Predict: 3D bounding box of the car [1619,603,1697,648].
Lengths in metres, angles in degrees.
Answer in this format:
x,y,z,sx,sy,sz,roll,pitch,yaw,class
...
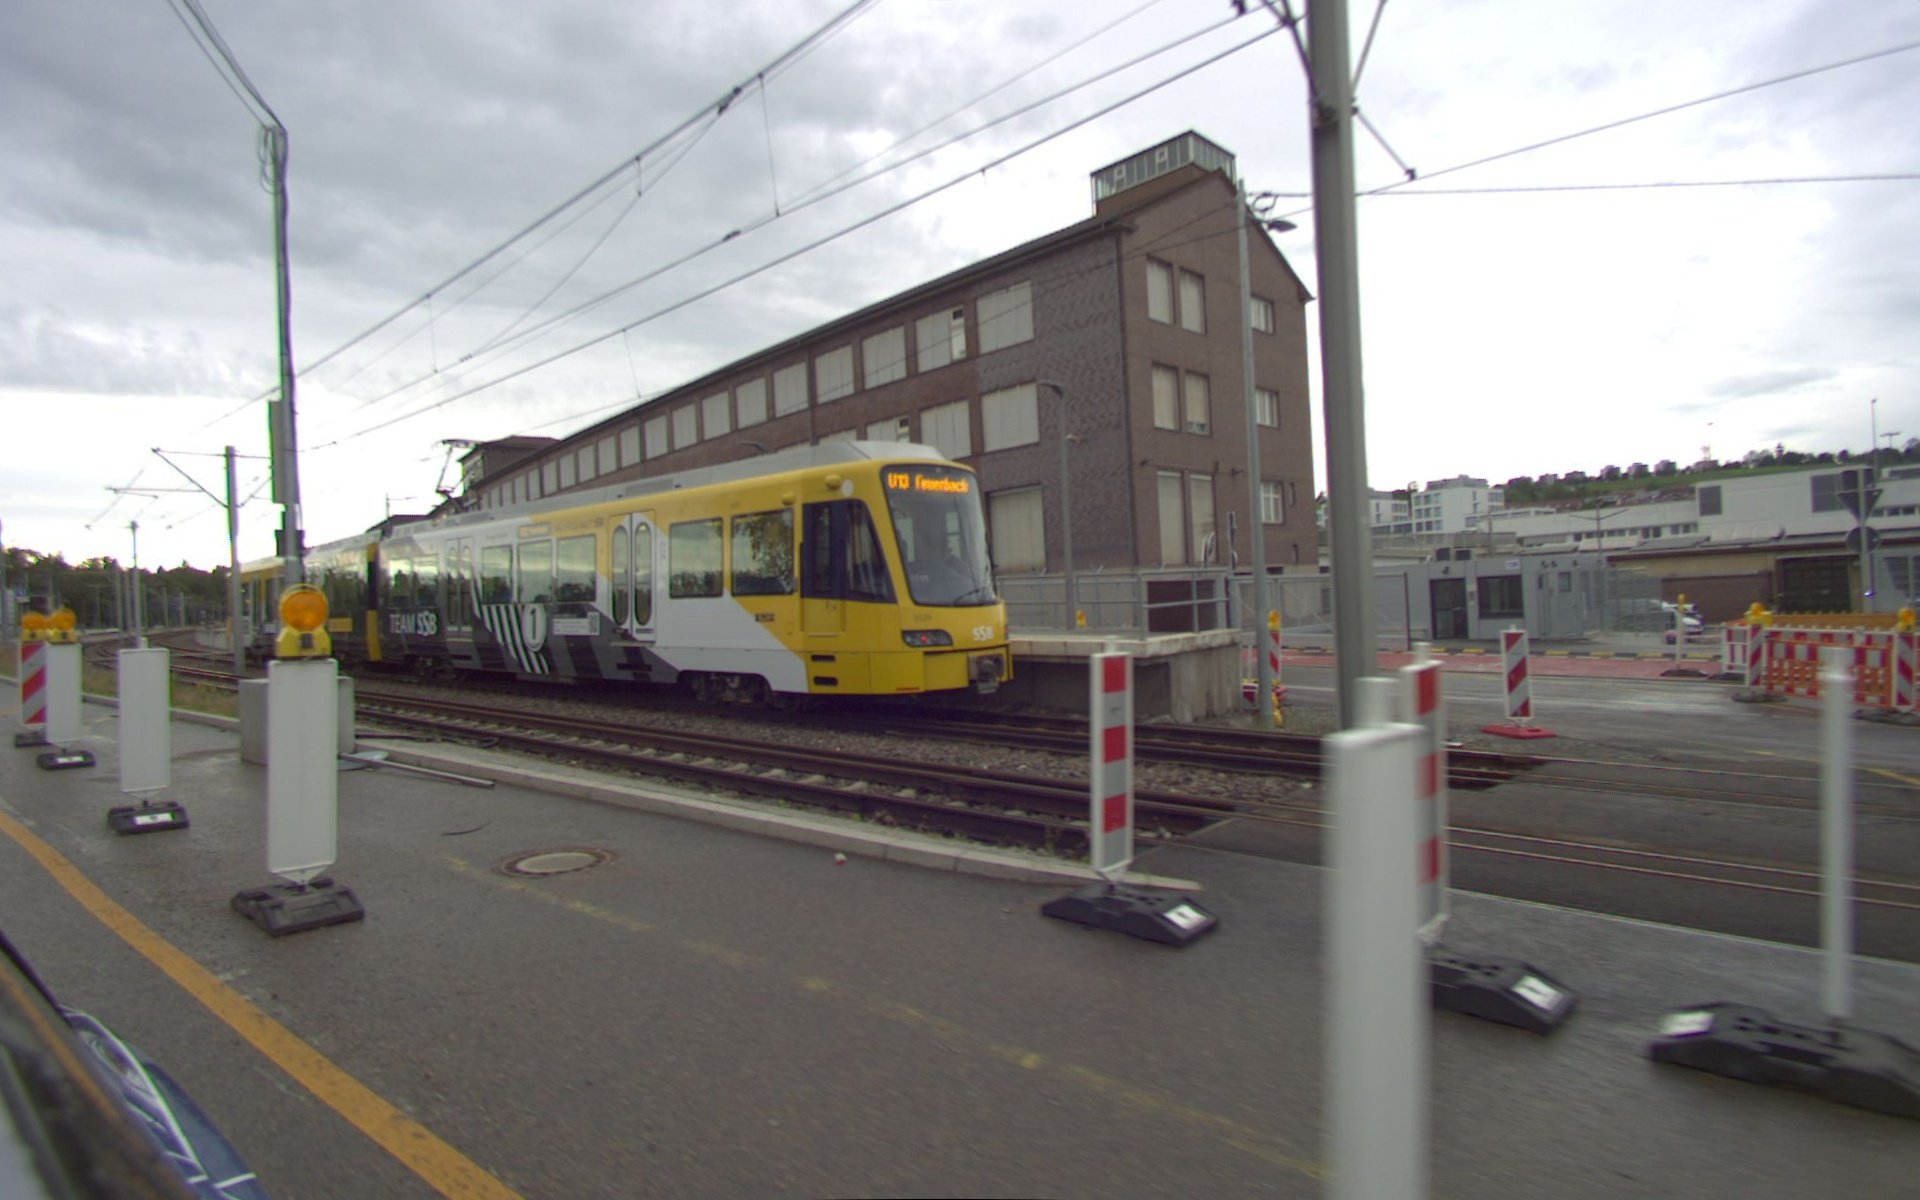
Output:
x,y,z,sx,sy,sz,roll,pitch,yaw,class
47.398,1.701,68.765,1.970,2.926,4.004,0,-1,-43,car

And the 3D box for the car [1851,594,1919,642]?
x,y,z,sx,sy,sz,roll,pitch,yaw,class
51.020,0.959,54.144,4.926,2.496,1.958,-1,-1,44,car

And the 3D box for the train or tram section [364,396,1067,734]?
x,y,z,sx,sy,sz,roll,pitch,yaw,class
-6.604,-0.213,19.412,19.291,3.915,2.923,-2,1,43,train or tram section

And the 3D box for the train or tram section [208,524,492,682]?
x,y,z,sx,sy,sz,roll,pitch,yaw,class
-20.633,0.262,32.889,19.578,3.915,2.922,-2,1,44,train or tram section
